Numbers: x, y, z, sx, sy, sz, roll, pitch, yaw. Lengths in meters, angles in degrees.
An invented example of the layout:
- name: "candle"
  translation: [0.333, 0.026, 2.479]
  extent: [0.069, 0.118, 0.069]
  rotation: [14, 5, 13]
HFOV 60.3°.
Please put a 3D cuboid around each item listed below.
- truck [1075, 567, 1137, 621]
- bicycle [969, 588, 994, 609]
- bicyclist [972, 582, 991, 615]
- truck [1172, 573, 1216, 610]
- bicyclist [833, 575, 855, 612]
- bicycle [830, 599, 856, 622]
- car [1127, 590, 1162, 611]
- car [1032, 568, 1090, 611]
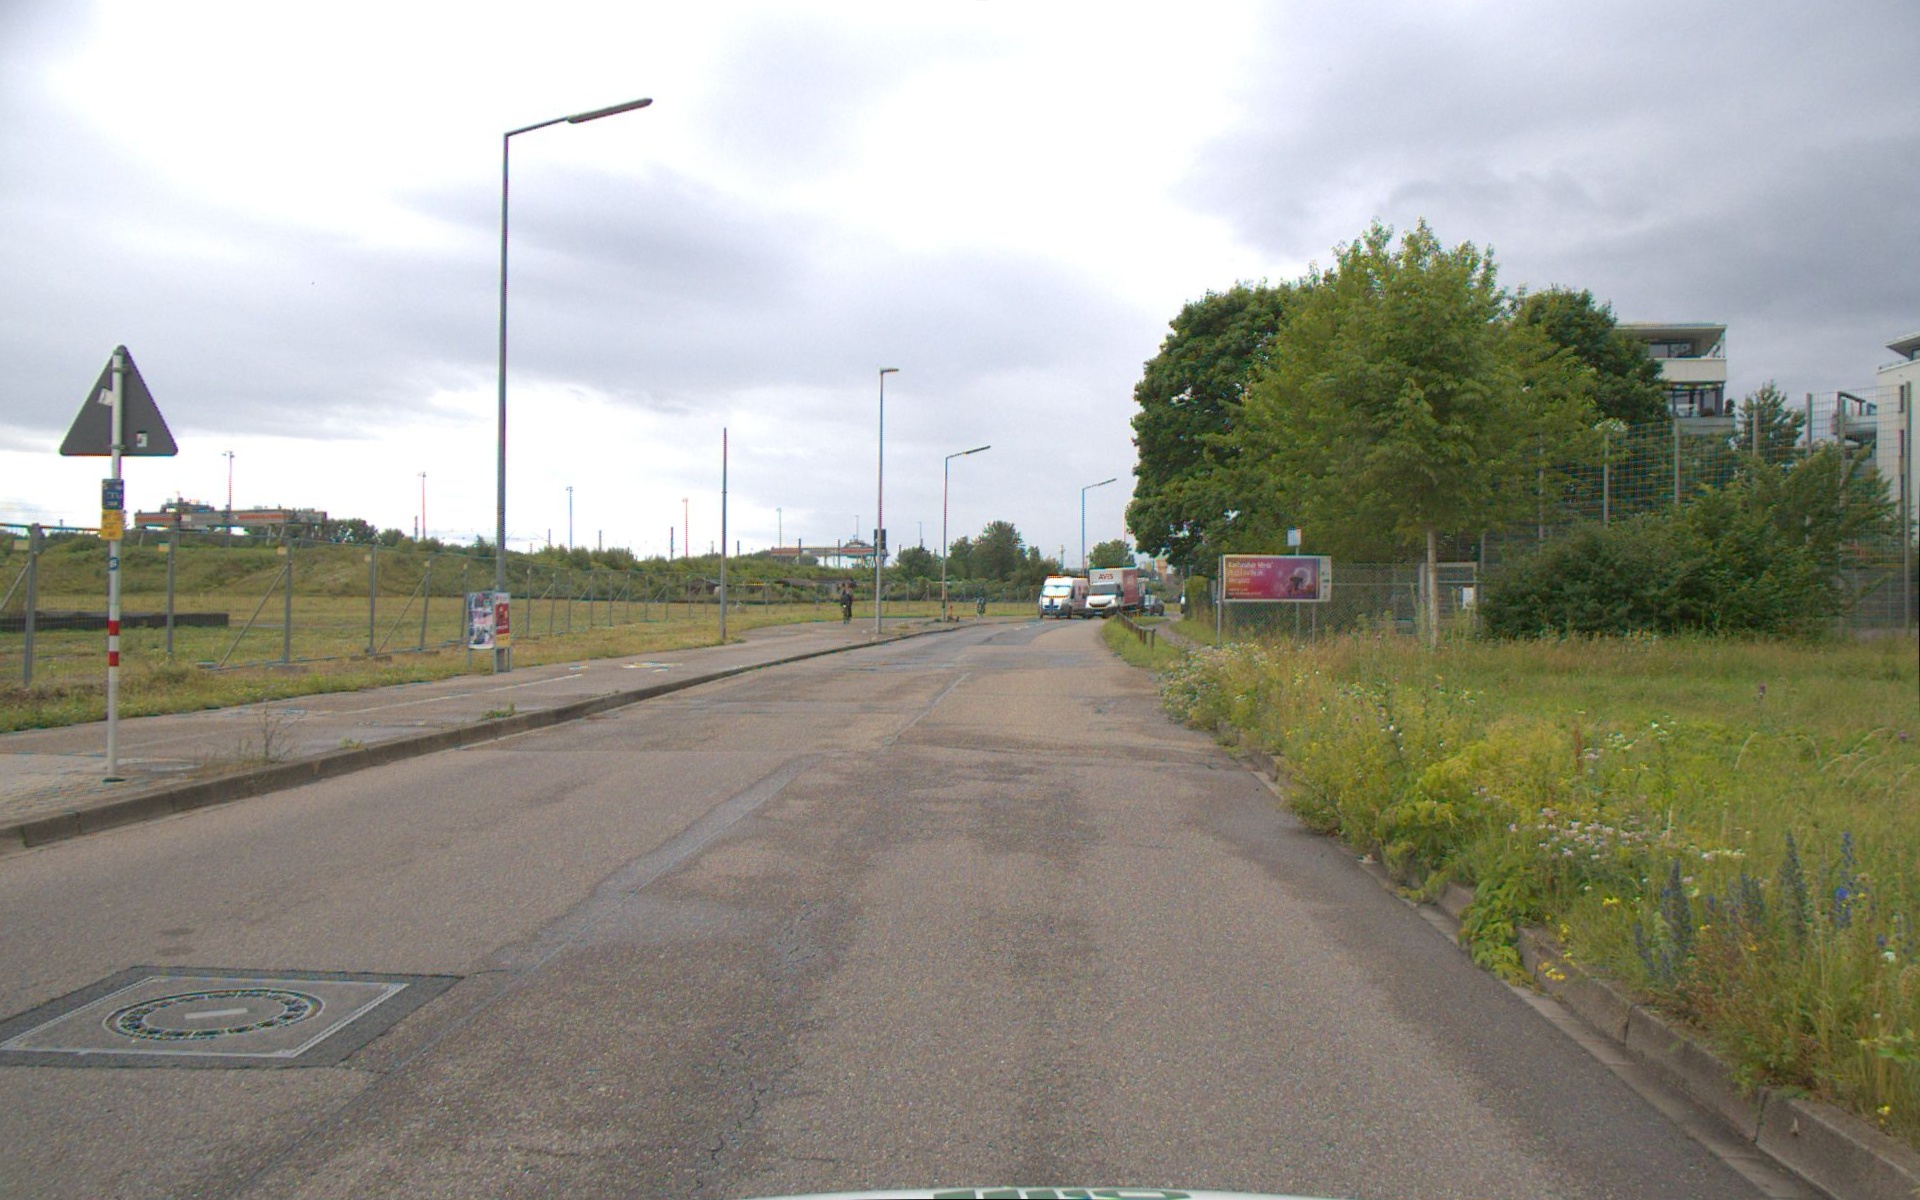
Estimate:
- name: "truck"
  translation: [9.046, -0.425, 101.756]
  extent: [2.291, 3.115, 7.501]
  rotation: [-2, 0, 16]
- name: "bicycle"
  translation: [1.265, -0.101, 96.246]
  extent: [0.801, 1.225, 2.559]
  rotation: [0, 1, 16]
- name: "bicyclist"
  translation: [1.241, -0.091, 96.135]
  extent: [0.810, 1.853, 1.331]
  rotation: [0, 1, 16]
- name: "truck"
  translation: [20.551, -0.747, 144.917]
  extent: [2.410, 3.114, 8.166]
  rotation: [0, 1, 18]
- name: "bicyclist"
  translation: [-4.930, -0.264, 70.205]
  extent: [0.765, 1.553, 1.094]
  rotation: [0, 1, 4]
- name: "bicycle"
  translation: [-4.943, 0.447, 70.180]
  extent: [0.786, 0.923, 2.234]
  rotation: [0, 1, 4]
- name: "car"
  translation: [14.010, 0.039, 125.335]
  extent: [1.742, 1.531, 4.001]
  rotation: [0, 1, 20]
- name: "car"
  translation: [6.348, -0.673, 103.055]
  extent: [2.240, 2.600, 6.414]
  rotation: [0, 1, 17]
